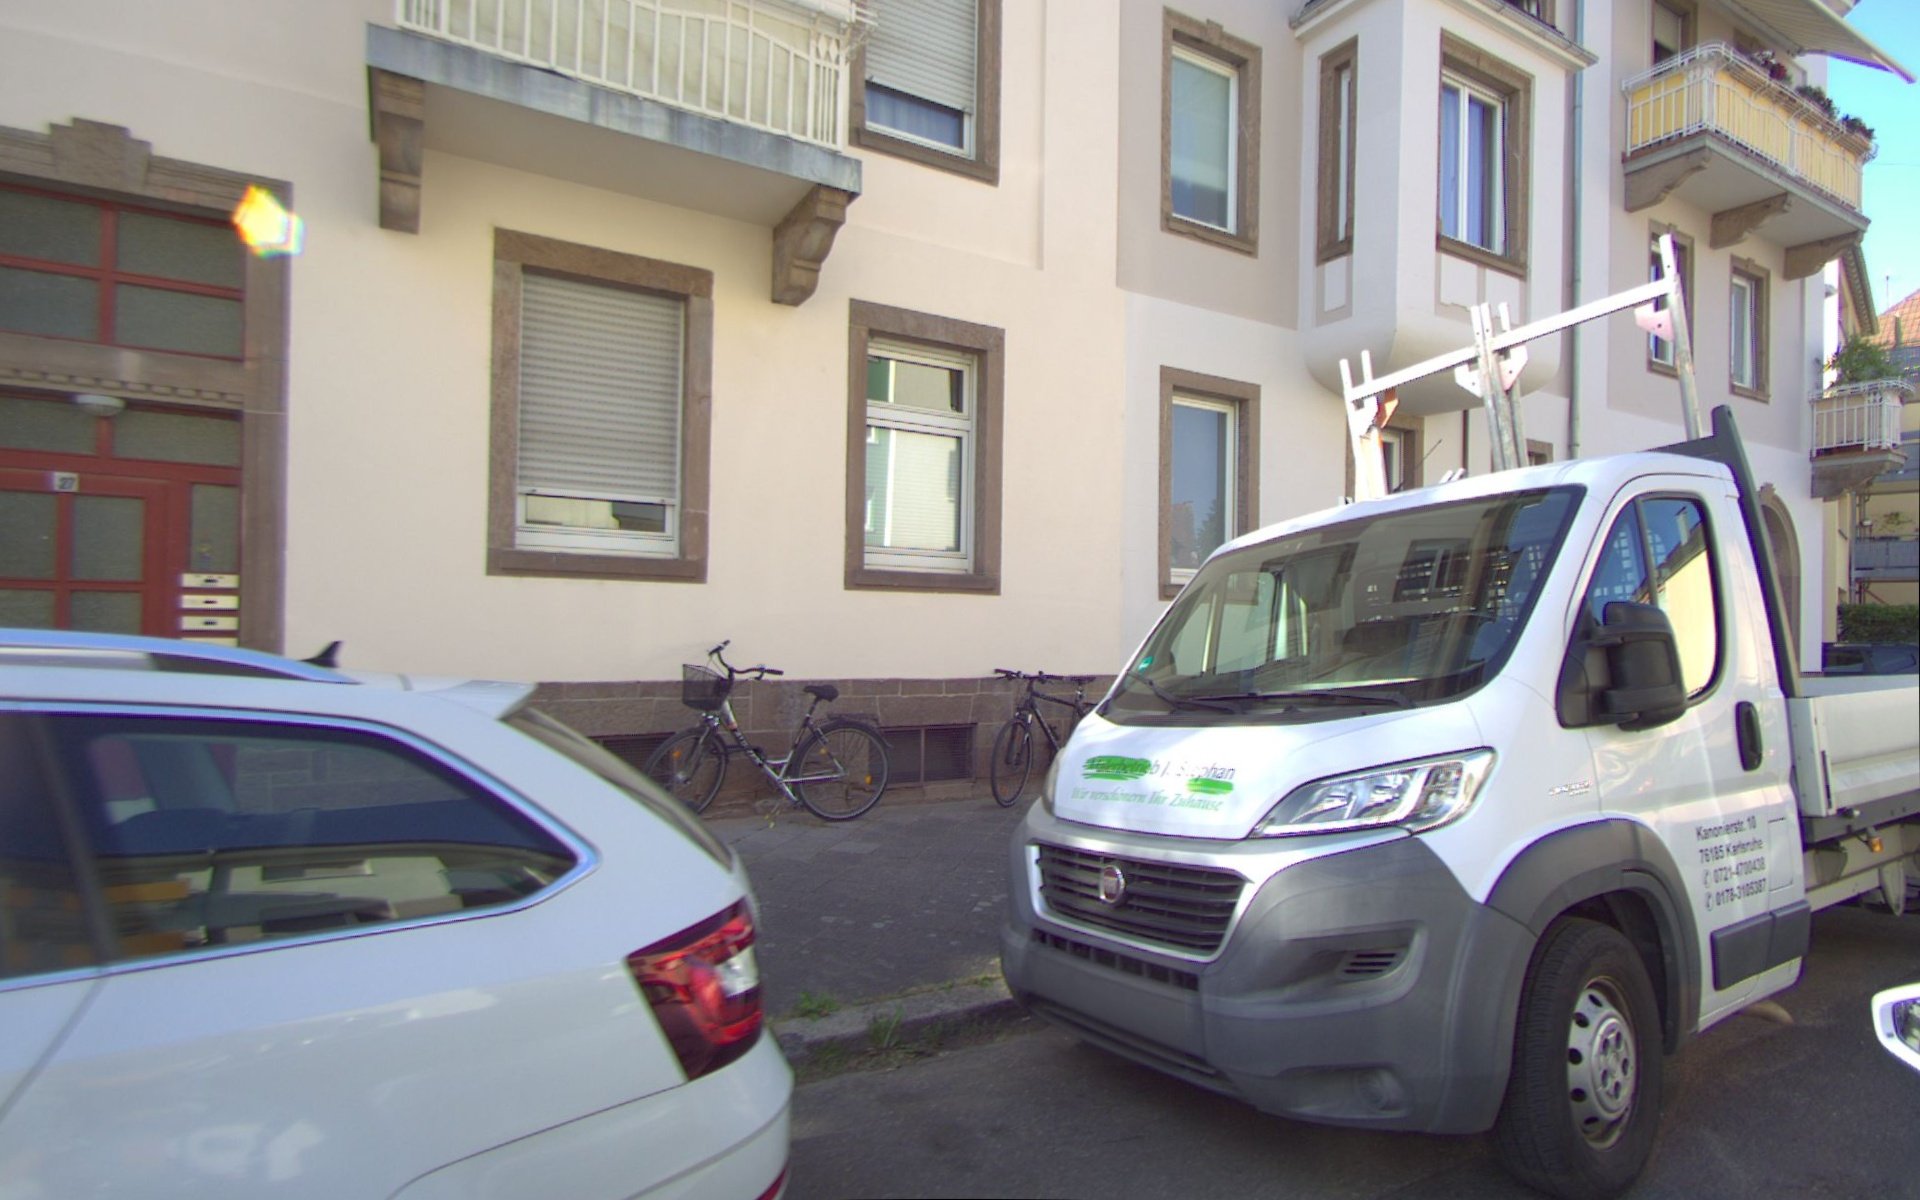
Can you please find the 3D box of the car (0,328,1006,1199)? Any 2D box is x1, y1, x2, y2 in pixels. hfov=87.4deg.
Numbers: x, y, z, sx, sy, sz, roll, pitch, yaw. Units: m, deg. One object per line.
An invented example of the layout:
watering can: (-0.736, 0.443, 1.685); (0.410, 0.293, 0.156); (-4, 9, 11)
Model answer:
car: (-2.309, 0.479, 1.477); (4.591, 1.561, 1.783); (2, -5, -33)

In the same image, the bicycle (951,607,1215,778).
bicycle: (1.089, 0.752, 8.521); (2.313, 1.296, 0.566); (2, 1, -31)

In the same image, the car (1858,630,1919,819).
car: (9.246, 1.045, 8.357); (4.038, 1.434, 1.636); (4, -4, -33)

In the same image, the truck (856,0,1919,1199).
truck: (3.258, -0.003, 4.881); (7.195, 3.024, 2.248); (4, -5, -32)

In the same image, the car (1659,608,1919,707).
car: (17.191, 1.121, 20.621); (4.415, 1.637, 1.769); (4, 1, 43)

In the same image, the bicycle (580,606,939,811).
bicycle: (-1.322, 0.698, 6.911); (2.313, 1.220, 0.626); (2, 1, -31)

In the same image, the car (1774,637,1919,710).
car: (22.085, 1.778, 24.010); (3.936, 1.499, 1.586); (4, 1, 43)
